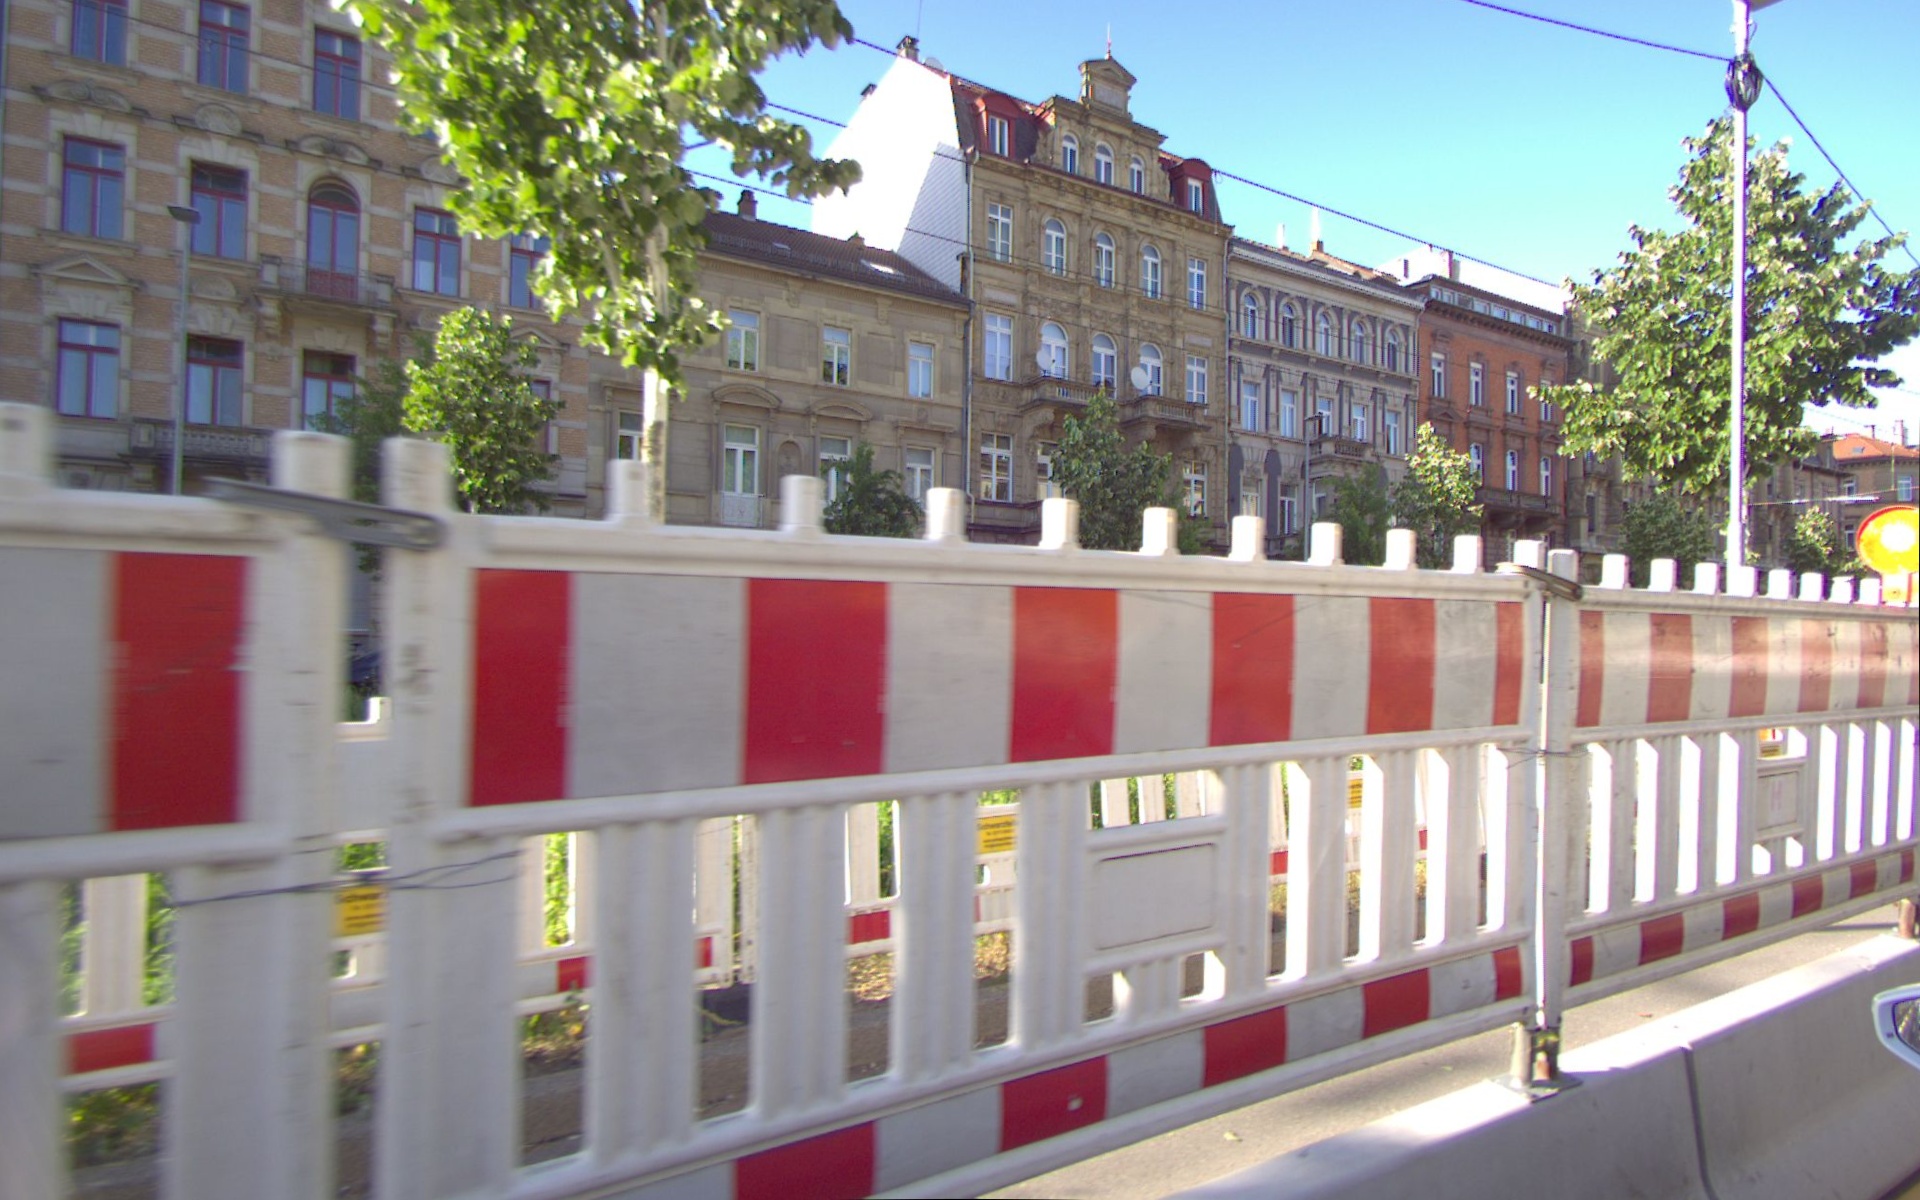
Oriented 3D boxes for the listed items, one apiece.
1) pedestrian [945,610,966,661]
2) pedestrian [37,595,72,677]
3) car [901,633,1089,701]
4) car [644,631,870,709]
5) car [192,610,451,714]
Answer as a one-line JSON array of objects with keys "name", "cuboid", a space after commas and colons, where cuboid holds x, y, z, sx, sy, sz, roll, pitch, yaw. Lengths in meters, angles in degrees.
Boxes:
[{"name": "pedestrian", "cuboid": [-0.136, 1.086, 30.915, 0.430, 1.555, 0.403, 2, 0, -30]}, {"name": "pedestrian", "cuboid": [-18.070, 0.713, 20.056, 0.431, 1.606, 0.457, 2, 0, -36]}, {"name": "car", "cuboid": [0.940, 1.668, 25.388, 4.660, 1.583, 1.559, 2, -2, -31]}, {"name": "car", "cuboid": [-4.445, 1.513, 22.251, 4.660, 1.583, 1.559, 2, -2, -31]}, {"name": "car", "cuboid": [-11.396, 1.101, 18.191, 3.764, 1.697, 1.559, 2, -2, -30]}]
